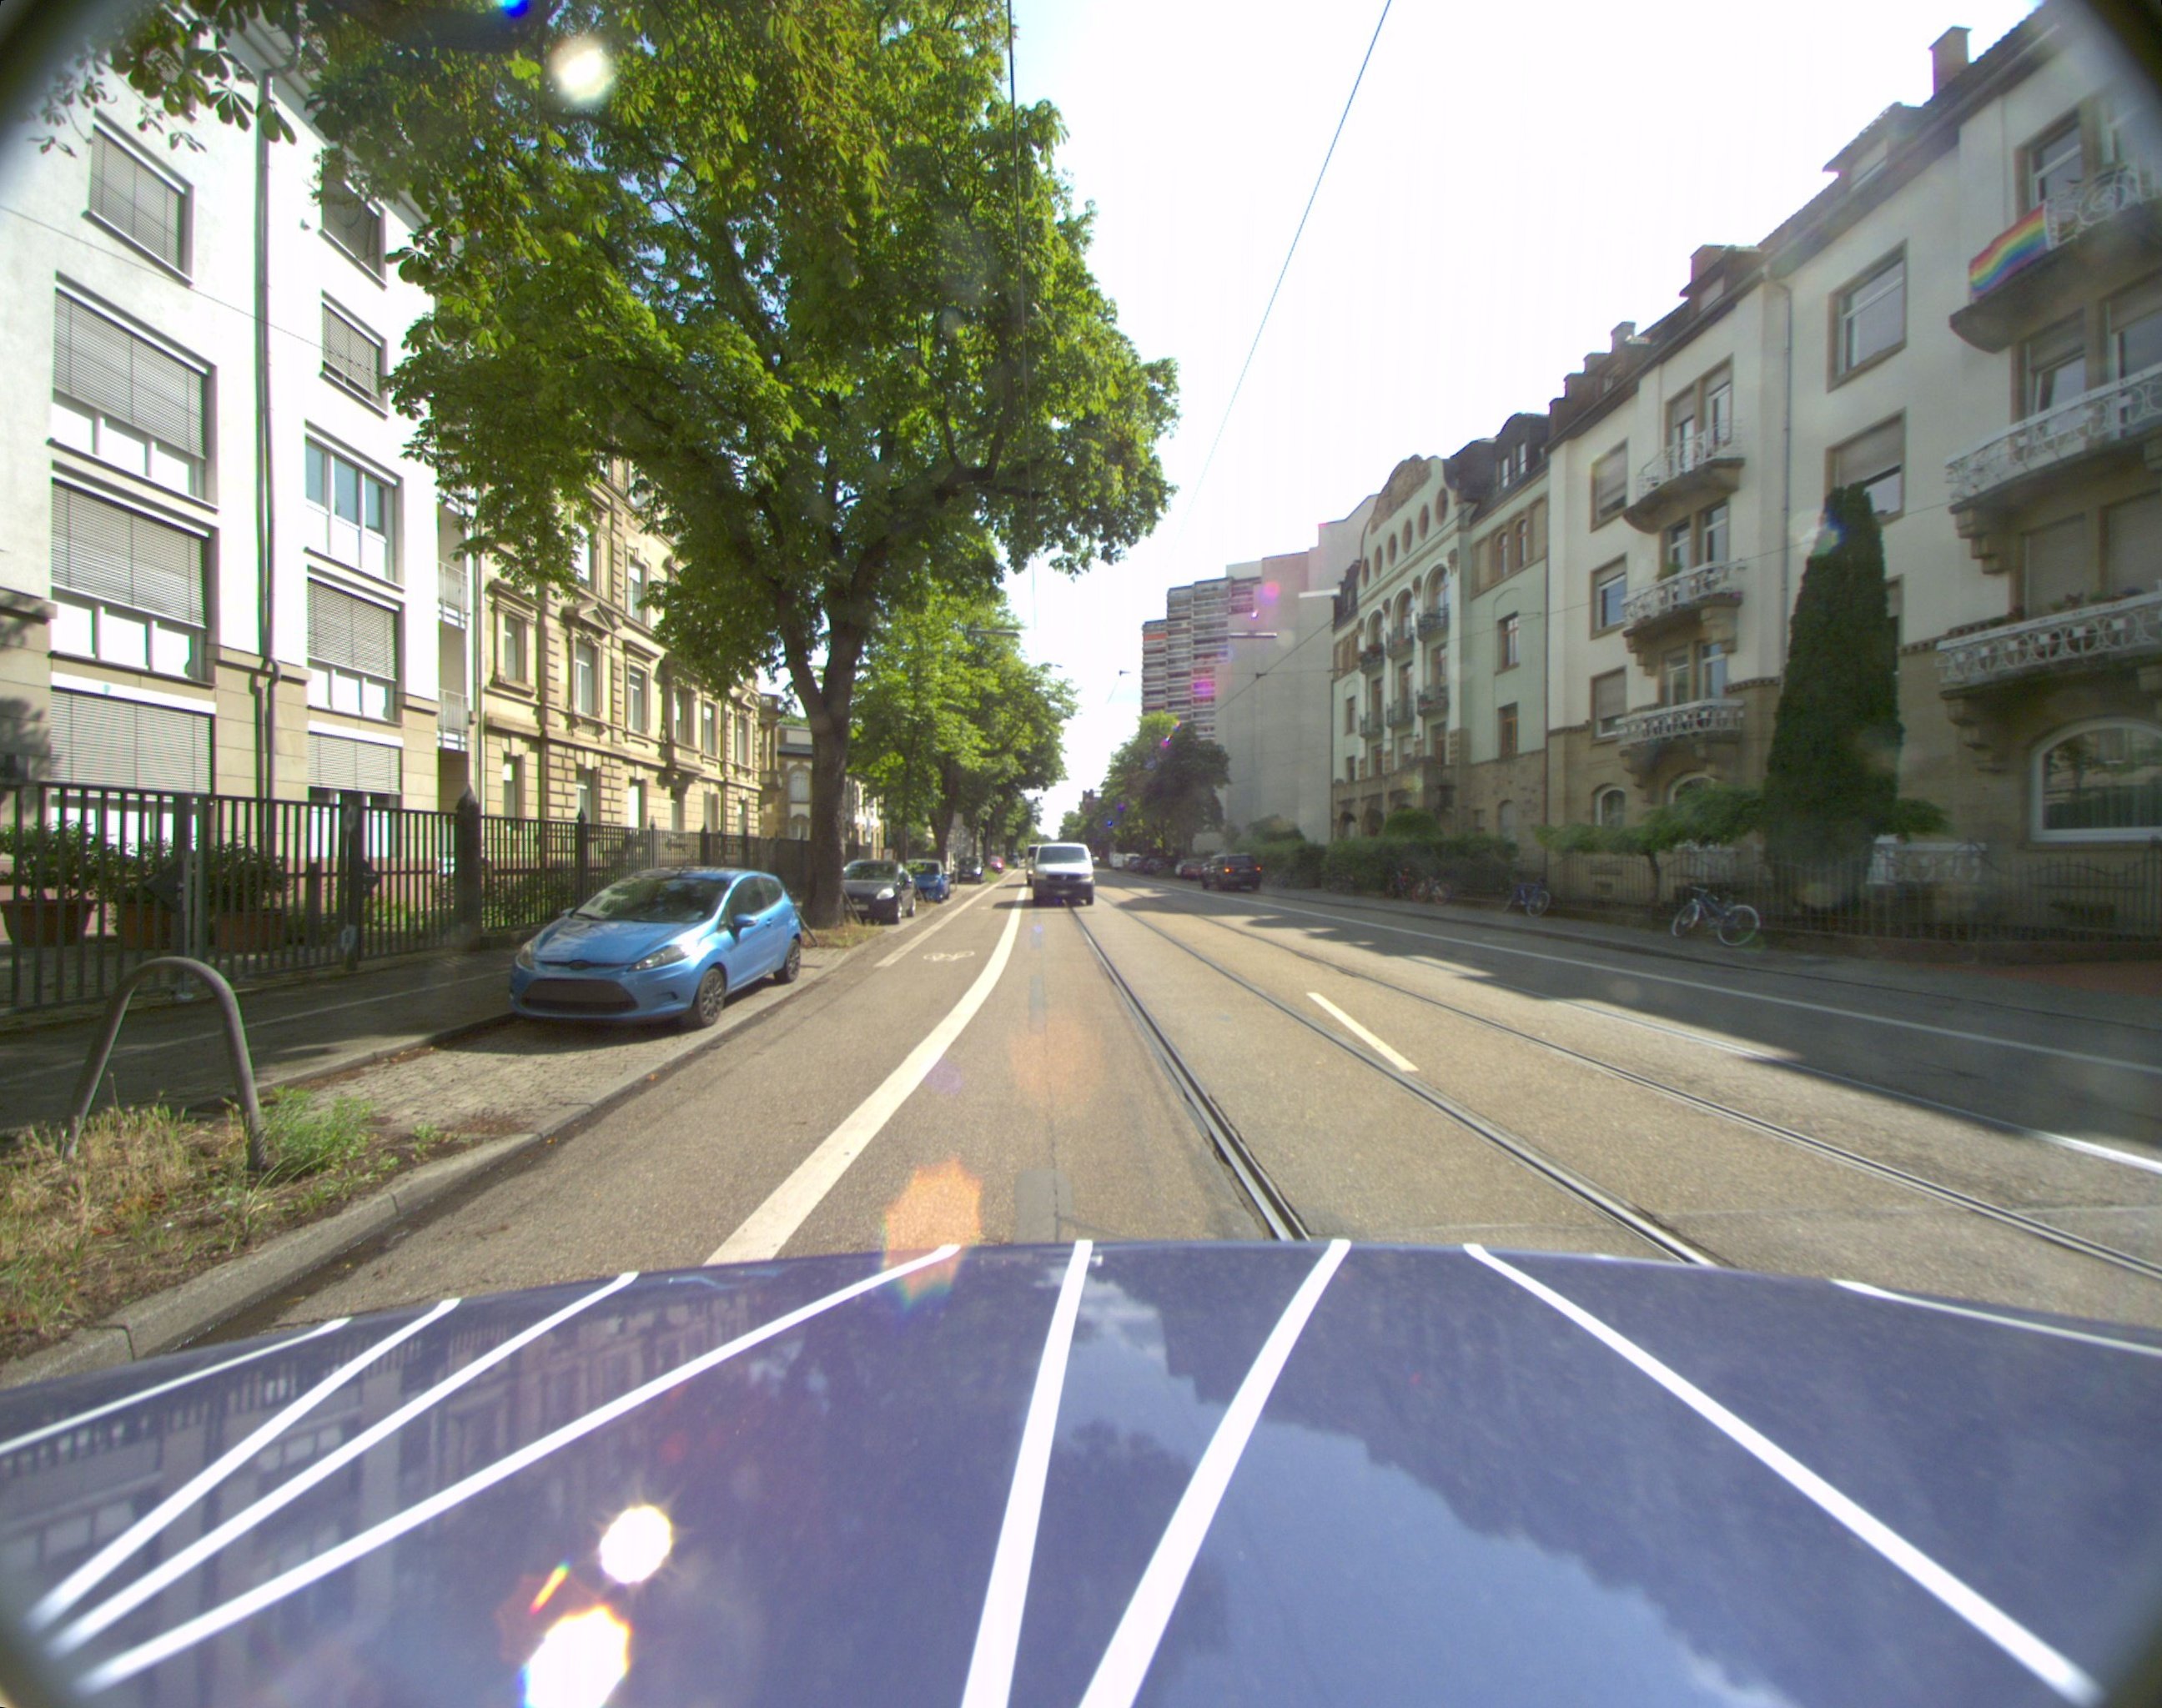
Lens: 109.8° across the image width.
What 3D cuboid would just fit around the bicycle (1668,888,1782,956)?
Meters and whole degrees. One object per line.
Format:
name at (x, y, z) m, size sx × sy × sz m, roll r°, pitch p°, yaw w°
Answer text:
bicycle at (11.043, 1.131, 13.126) m, size 0.467 × 0.990 × 1.979 m, roll 0°, pitch 0°, yaw 6°

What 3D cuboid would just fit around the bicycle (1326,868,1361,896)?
bicycle at (9.957, 1.044, 28.833) m, size 0.605 × 0.990 × 1.980 m, roll 0°, pitch 0°, yaw -1°

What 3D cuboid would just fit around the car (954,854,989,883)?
car at (-6.484, 0.853, 45.186) m, size 1.744 × 1.564 × 3.659 m, roll 3°, pitch 0°, yaw -4°

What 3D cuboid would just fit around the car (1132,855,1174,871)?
car at (7.064, 0.886, 74.337) m, size 3.994 × 1.499 × 2.001 m, roll 0°, pitch 0°, yaw 7°

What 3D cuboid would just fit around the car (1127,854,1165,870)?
car at (6.934, 0.791, 80.971) m, size 3.994 × 1.672 × 2.001 m, roll 0°, pitch 0°, yaw 7°

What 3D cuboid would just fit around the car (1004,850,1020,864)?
car at (-8.388, 0.354, 92.802) m, size 1.744 × 1.564 × 3.928 m, roll 3°, pitch 0°, yaw -4°

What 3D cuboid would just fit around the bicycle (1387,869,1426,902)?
bicycle at (10.571, 1.019, 24.750) m, size 0.468 × 0.990 × 1.786 m, roll 0°, pitch 0°, yaw -1°

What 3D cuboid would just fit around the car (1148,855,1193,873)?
car at (8.008, 0.888, 68.015) m, size 3.994 × 1.499 × 2.001 m, roll 0°, pitch 0°, yaw 7°

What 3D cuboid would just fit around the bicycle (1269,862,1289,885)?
bicycle at (9.866, 0.962, 37.884) m, size 0.468 × 1.128 × 1.786 m, roll 0°, pitch 0°, yaw -1°

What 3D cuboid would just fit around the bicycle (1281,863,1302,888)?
bicycle at (9.960, 0.986, 35.943) m, size 0.468 × 1.128 × 1.786 m, roll 0°, pitch 0°, yaw -1°

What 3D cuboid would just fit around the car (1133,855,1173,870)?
car at (7.373, 0.880, 77.500) m, size 3.994 × 1.499 × 2.001 m, roll 0°, pitch 0°, yaw 7°

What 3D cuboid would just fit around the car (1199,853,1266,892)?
car at (7.059, 0.808, 35.785) m, size 1.922 × 1.685 × 4.399 m, roll 0°, pitch 0°, yaw -5°

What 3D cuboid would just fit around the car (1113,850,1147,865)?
car at (5.870, 0.413, 91.223) m, size 1.994 × 1.740 × 4.008 m, roll -1°, pitch 1°, yaw 40°

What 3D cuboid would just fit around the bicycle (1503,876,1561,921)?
bicycle at (10.863, 1.048, 18.369) m, size 0.467 × 0.990 × 1.787 m, roll 0°, pitch 0°, yaw 4°

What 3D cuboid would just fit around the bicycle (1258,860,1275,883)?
bicycle at (9.753, 0.913, 39.981) m, size 0.468 × 1.128 × 1.786 m, roll 0°, pitch 0°, yaw -1°

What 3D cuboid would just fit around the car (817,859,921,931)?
car at (-5.005, 0.911, 18.404) m, size 1.679 × 1.467 × 3.659 m, roll 3°, pitch 0°, yaw -4°

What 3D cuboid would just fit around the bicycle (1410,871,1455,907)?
bicycle at (10.544, 1.028, 22.851) m, size 0.468 × 0.990 × 1.786 m, roll 0°, pitch 0°, yaw -1°

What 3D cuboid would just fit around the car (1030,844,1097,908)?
car at (-0.609, 0.646, 24.936) m, size 1.974 × 1.901 × 4.816 m, roll 0°, pitch 0°, yaw -2°

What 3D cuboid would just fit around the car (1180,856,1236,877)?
car at (9.192, 0.882, 55.271) m, size 3.994 × 1.499 × 2.001 m, roll 0°, pitch 0°, yaw 7°

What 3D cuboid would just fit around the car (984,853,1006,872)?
car at (-7.691, 0.737, 68.006) m, size 1.744 × 1.564 × 3.928 m, roll 3°, pitch 0°, yaw -4°

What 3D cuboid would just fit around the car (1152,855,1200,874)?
car at (8.125, 0.881, 64.860) m, size 3.994 × 1.499 × 2.001 m, roll 0°, pitch 0°, yaw 7°

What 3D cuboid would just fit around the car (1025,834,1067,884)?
car at (-1.917, 0.256, 41.443) m, size 2.147 × 2.568 × 4.816 m, roll 0°, pitch 0°, yaw -2°

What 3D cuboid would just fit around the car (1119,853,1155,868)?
car at (6.325, 0.764, 85.392) m, size 3.994 × 1.672 × 2.001 m, roll 0°, pitch 0°, yaw 7°

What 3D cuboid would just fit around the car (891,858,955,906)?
car at (-5.465, 0.915, 26.616) m, size 1.679 × 1.467 × 3.659 m, roll 3°, pitch 0°, yaw -4°

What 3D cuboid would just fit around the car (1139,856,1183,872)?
car at (7.490, 0.919, 71.131) m, size 3.994 × 1.499 × 2.001 m, roll 0°, pitch 0°, yaw 7°

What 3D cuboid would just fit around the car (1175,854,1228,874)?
car at (9.305, 0.794, 58.819) m, size 3.994 × 1.499 × 2.001 m, roll 0°, pitch 0°, yaw 7°

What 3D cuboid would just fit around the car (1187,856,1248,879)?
car at (9.248, 0.878, 51.763) m, size 3.994 × 1.499 × 2.001 m, roll 0°, pitch 0°, yaw 7°

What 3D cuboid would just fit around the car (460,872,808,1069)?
car at (-4.345, 1.015, 8.111) m, size 1.647 × 1.467 × 3.660 m, roll 3°, pitch 0°, yaw -3°
